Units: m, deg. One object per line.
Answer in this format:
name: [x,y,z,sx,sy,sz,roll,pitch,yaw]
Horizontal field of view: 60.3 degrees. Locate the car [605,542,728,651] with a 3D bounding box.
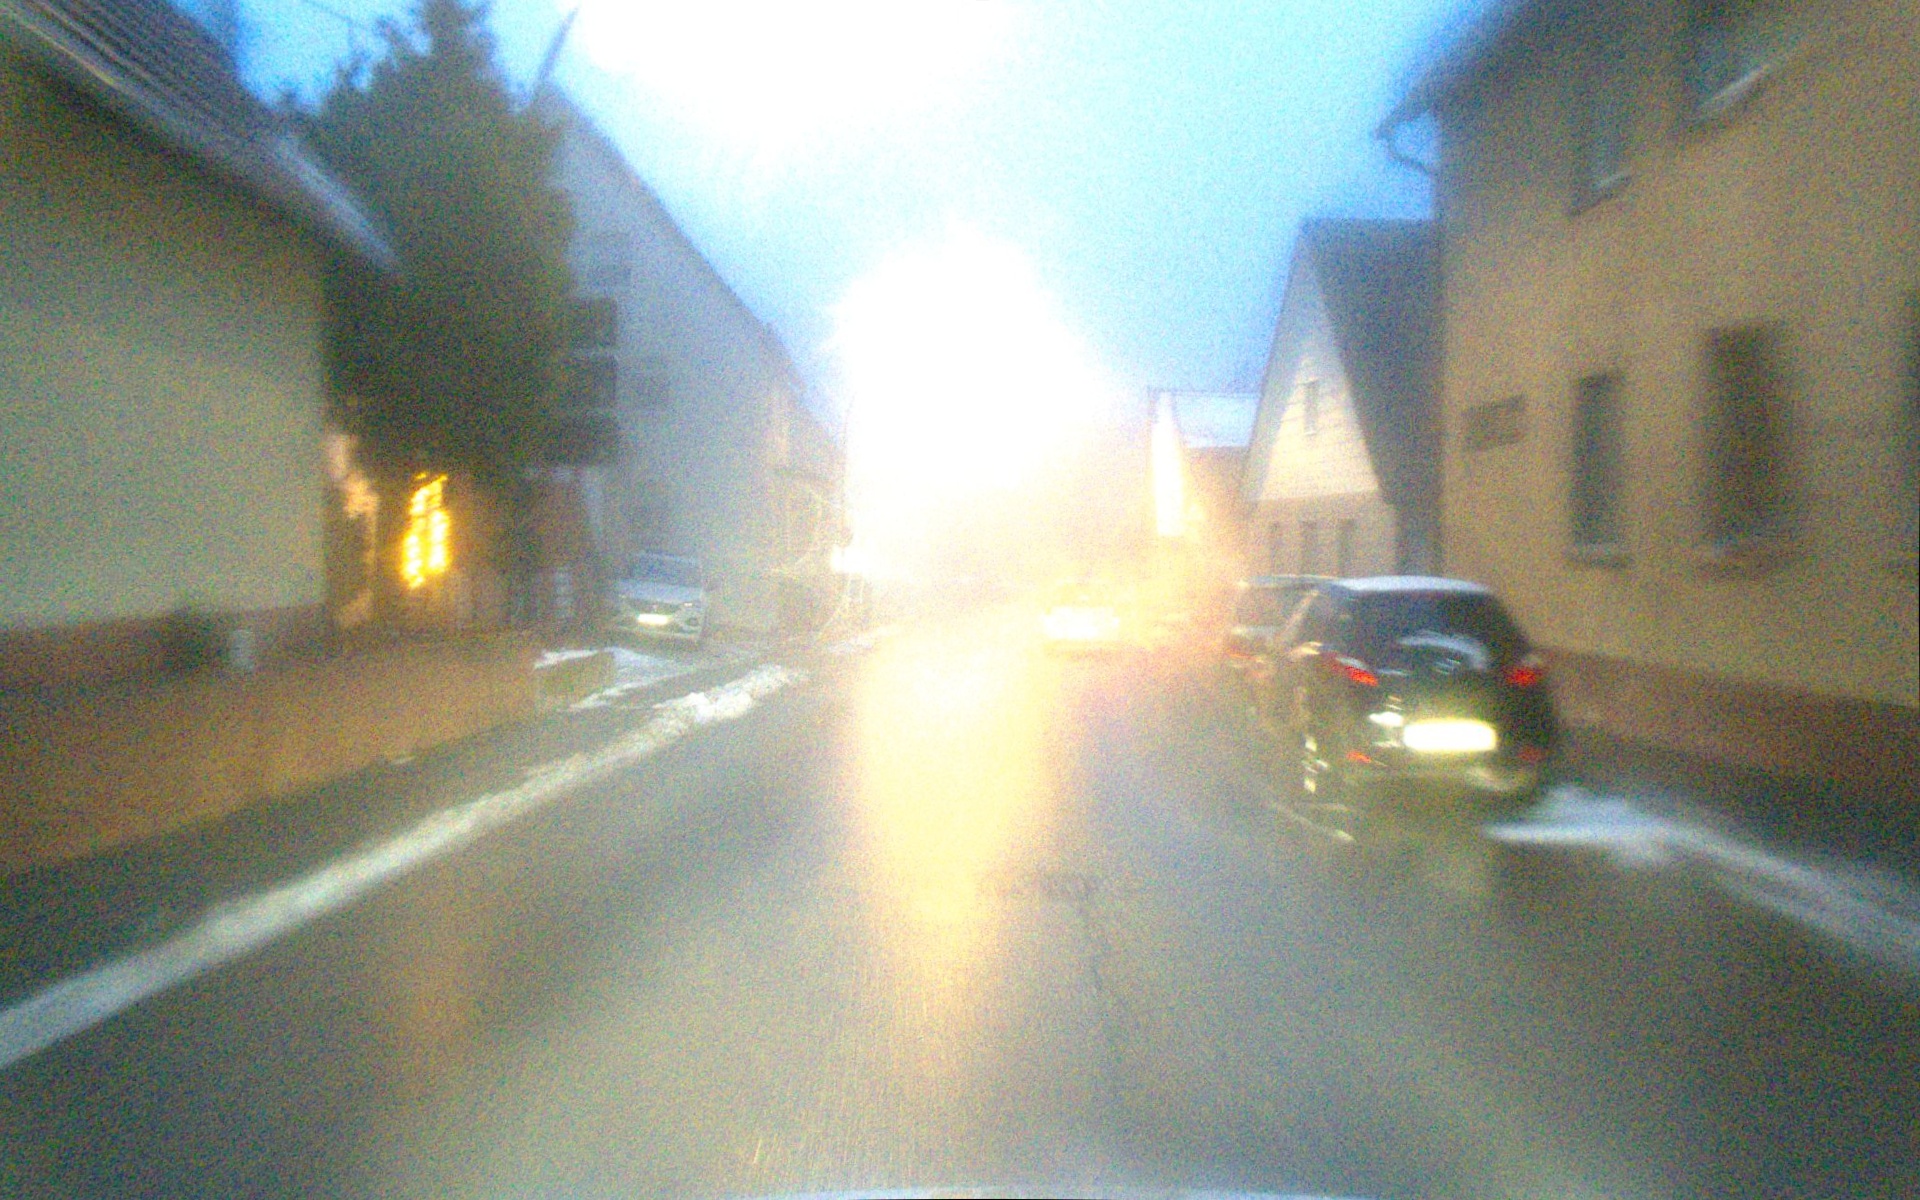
car: [-5.479,-0.050,31.352,1.730,1.766,4.635,5,-1,-5]

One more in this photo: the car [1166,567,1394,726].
car: [3.307,0.441,17.873,1.870,1.507,4.284,0,0,3]

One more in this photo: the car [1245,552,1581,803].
car: [3.218,0.445,12.505,1.680,1.525,3.909,3,1,4]

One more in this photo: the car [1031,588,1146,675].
car: [2.602,0.621,32.686,1.951,1.534,4.003,2,-1,8]

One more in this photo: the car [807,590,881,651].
car: [-3.383,0.559,48.894,1.953,1.549,4.190,2,2,-2]
